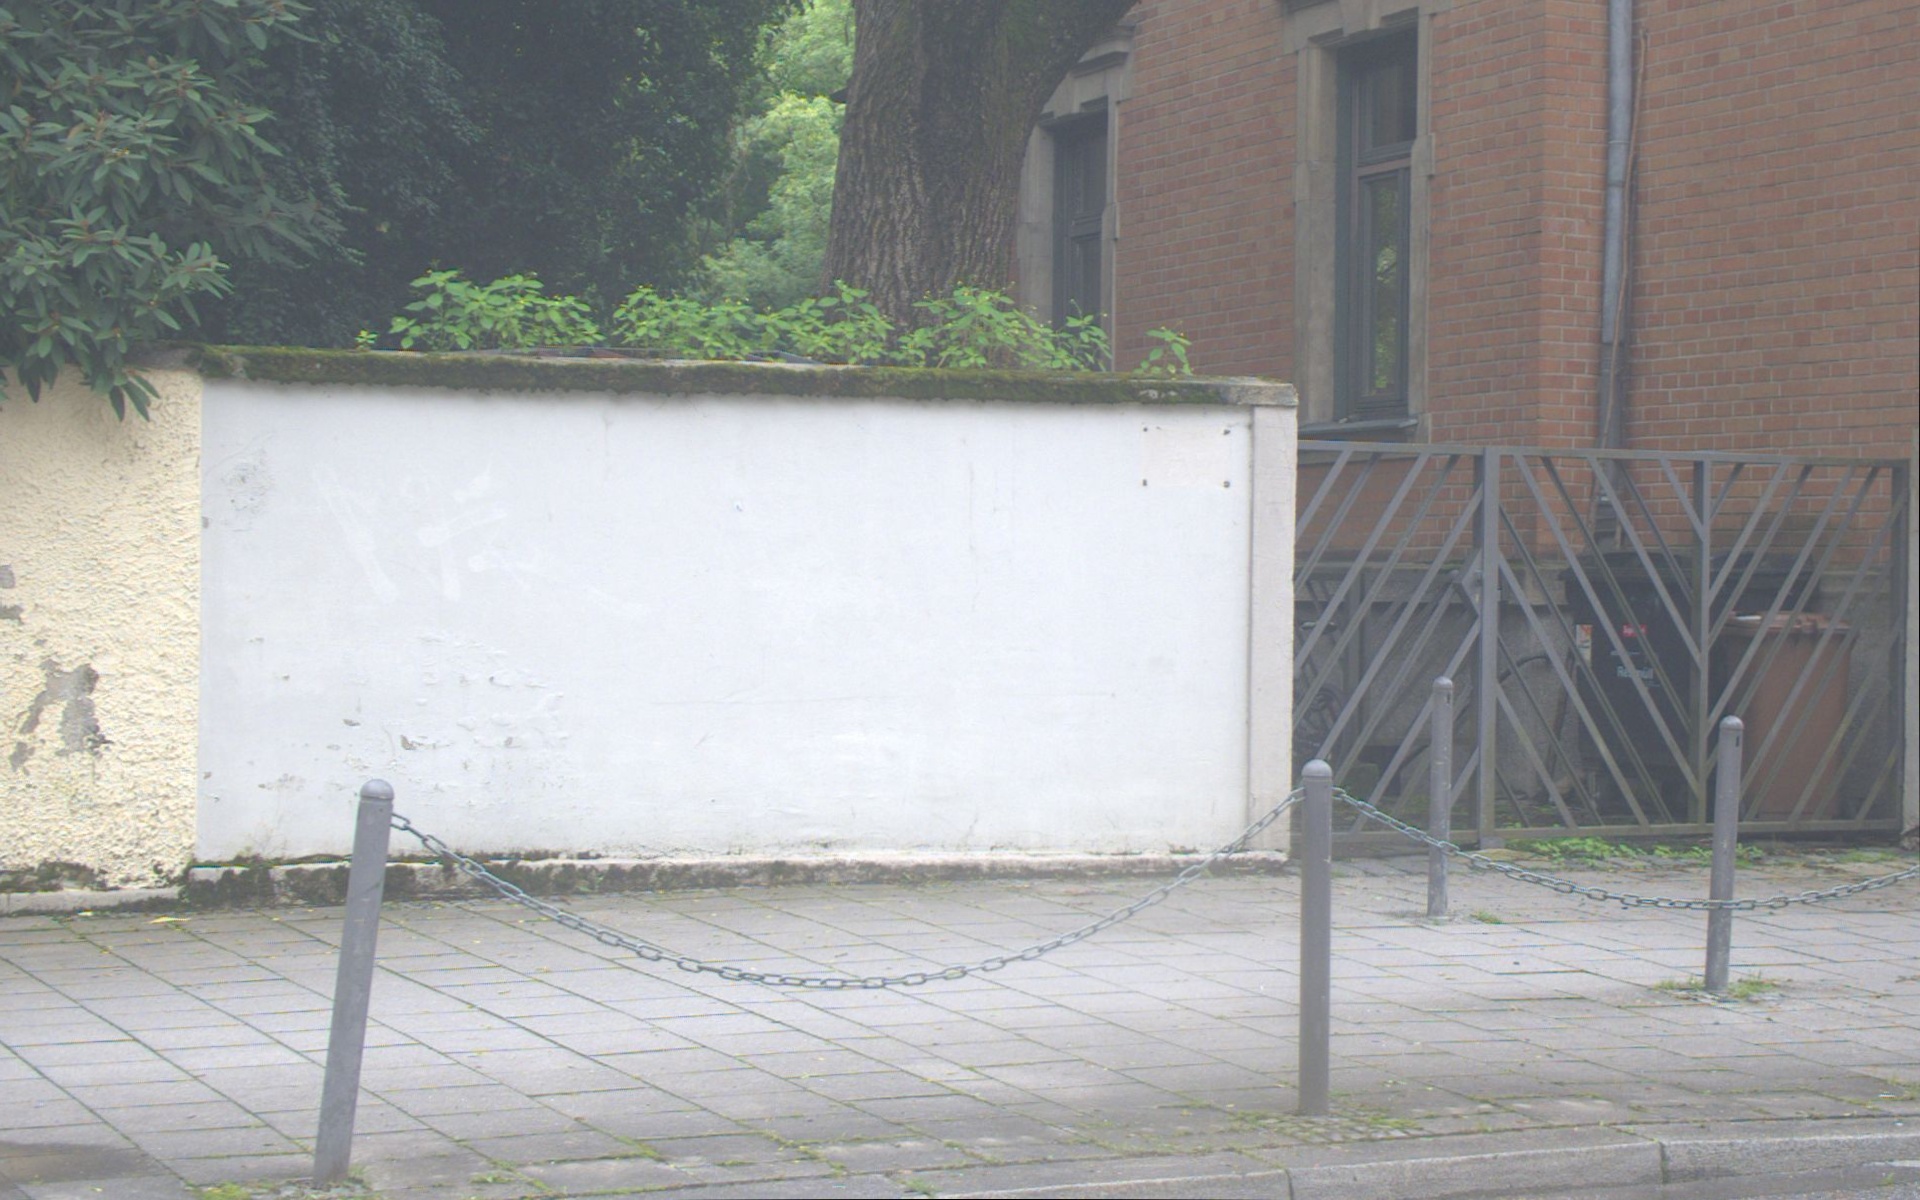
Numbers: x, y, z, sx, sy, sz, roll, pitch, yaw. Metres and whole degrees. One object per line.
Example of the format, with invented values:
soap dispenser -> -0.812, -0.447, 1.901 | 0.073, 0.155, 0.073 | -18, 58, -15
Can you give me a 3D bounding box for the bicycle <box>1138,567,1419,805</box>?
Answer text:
bicycle -> 1.686, 0.433, 18.566 | 0.534, 1.215, 2.083 | 1, 0, -24
